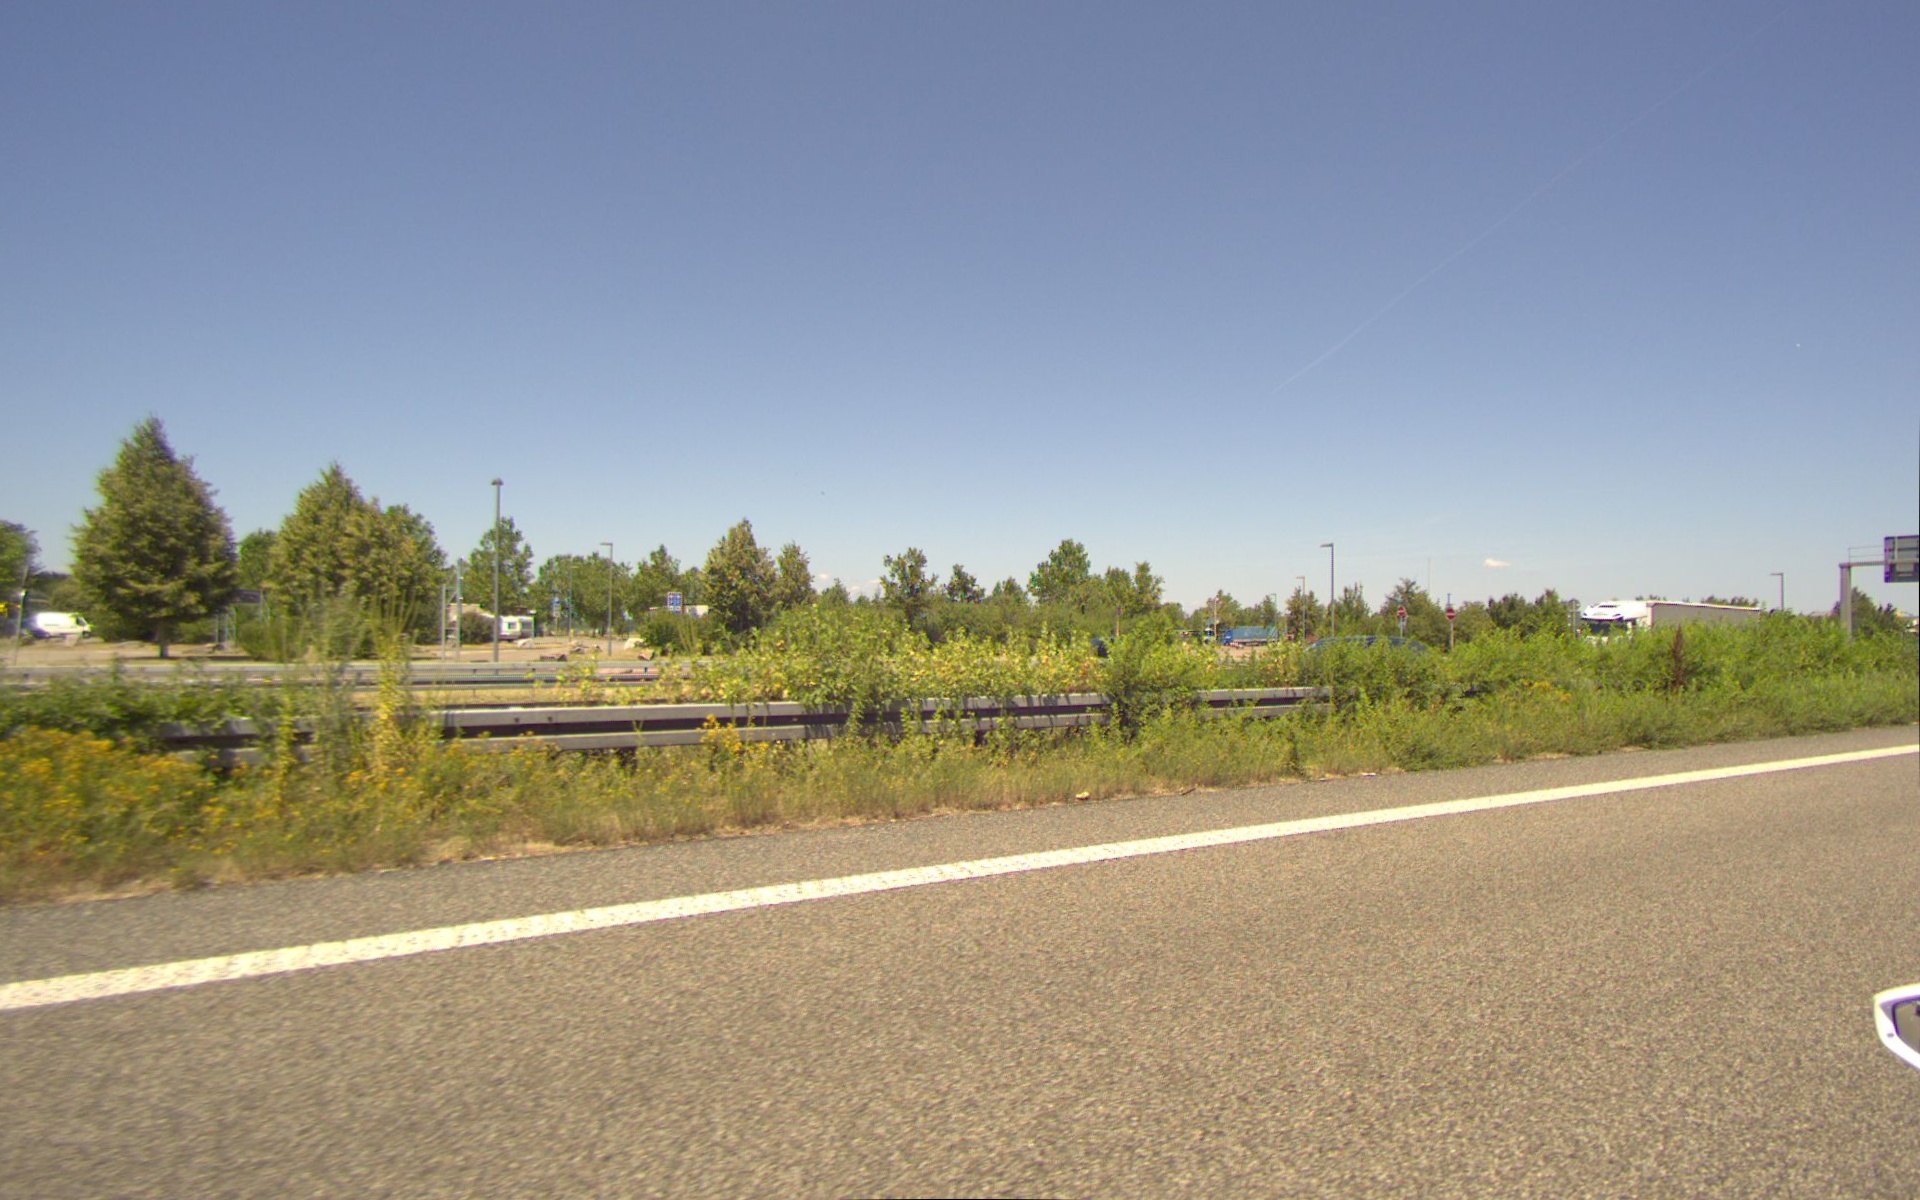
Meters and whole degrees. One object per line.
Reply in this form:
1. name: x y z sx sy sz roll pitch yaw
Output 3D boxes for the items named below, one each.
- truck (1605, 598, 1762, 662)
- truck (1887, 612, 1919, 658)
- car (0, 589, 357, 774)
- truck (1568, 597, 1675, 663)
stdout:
1. truck: 45.799 1.969 63.373 13.448 3.692 2.785 2 0 -31
2. truck: 93.701 3.455 97.539 8.220 4.207 3.079 2 0 -31
3. car: -8.708 0.772 9.905 4.642 1.644 1.796 2 -3 -30
4. truck: 39.154 1.757 59.439 6.075 3.692 2.785 2 0 -30
